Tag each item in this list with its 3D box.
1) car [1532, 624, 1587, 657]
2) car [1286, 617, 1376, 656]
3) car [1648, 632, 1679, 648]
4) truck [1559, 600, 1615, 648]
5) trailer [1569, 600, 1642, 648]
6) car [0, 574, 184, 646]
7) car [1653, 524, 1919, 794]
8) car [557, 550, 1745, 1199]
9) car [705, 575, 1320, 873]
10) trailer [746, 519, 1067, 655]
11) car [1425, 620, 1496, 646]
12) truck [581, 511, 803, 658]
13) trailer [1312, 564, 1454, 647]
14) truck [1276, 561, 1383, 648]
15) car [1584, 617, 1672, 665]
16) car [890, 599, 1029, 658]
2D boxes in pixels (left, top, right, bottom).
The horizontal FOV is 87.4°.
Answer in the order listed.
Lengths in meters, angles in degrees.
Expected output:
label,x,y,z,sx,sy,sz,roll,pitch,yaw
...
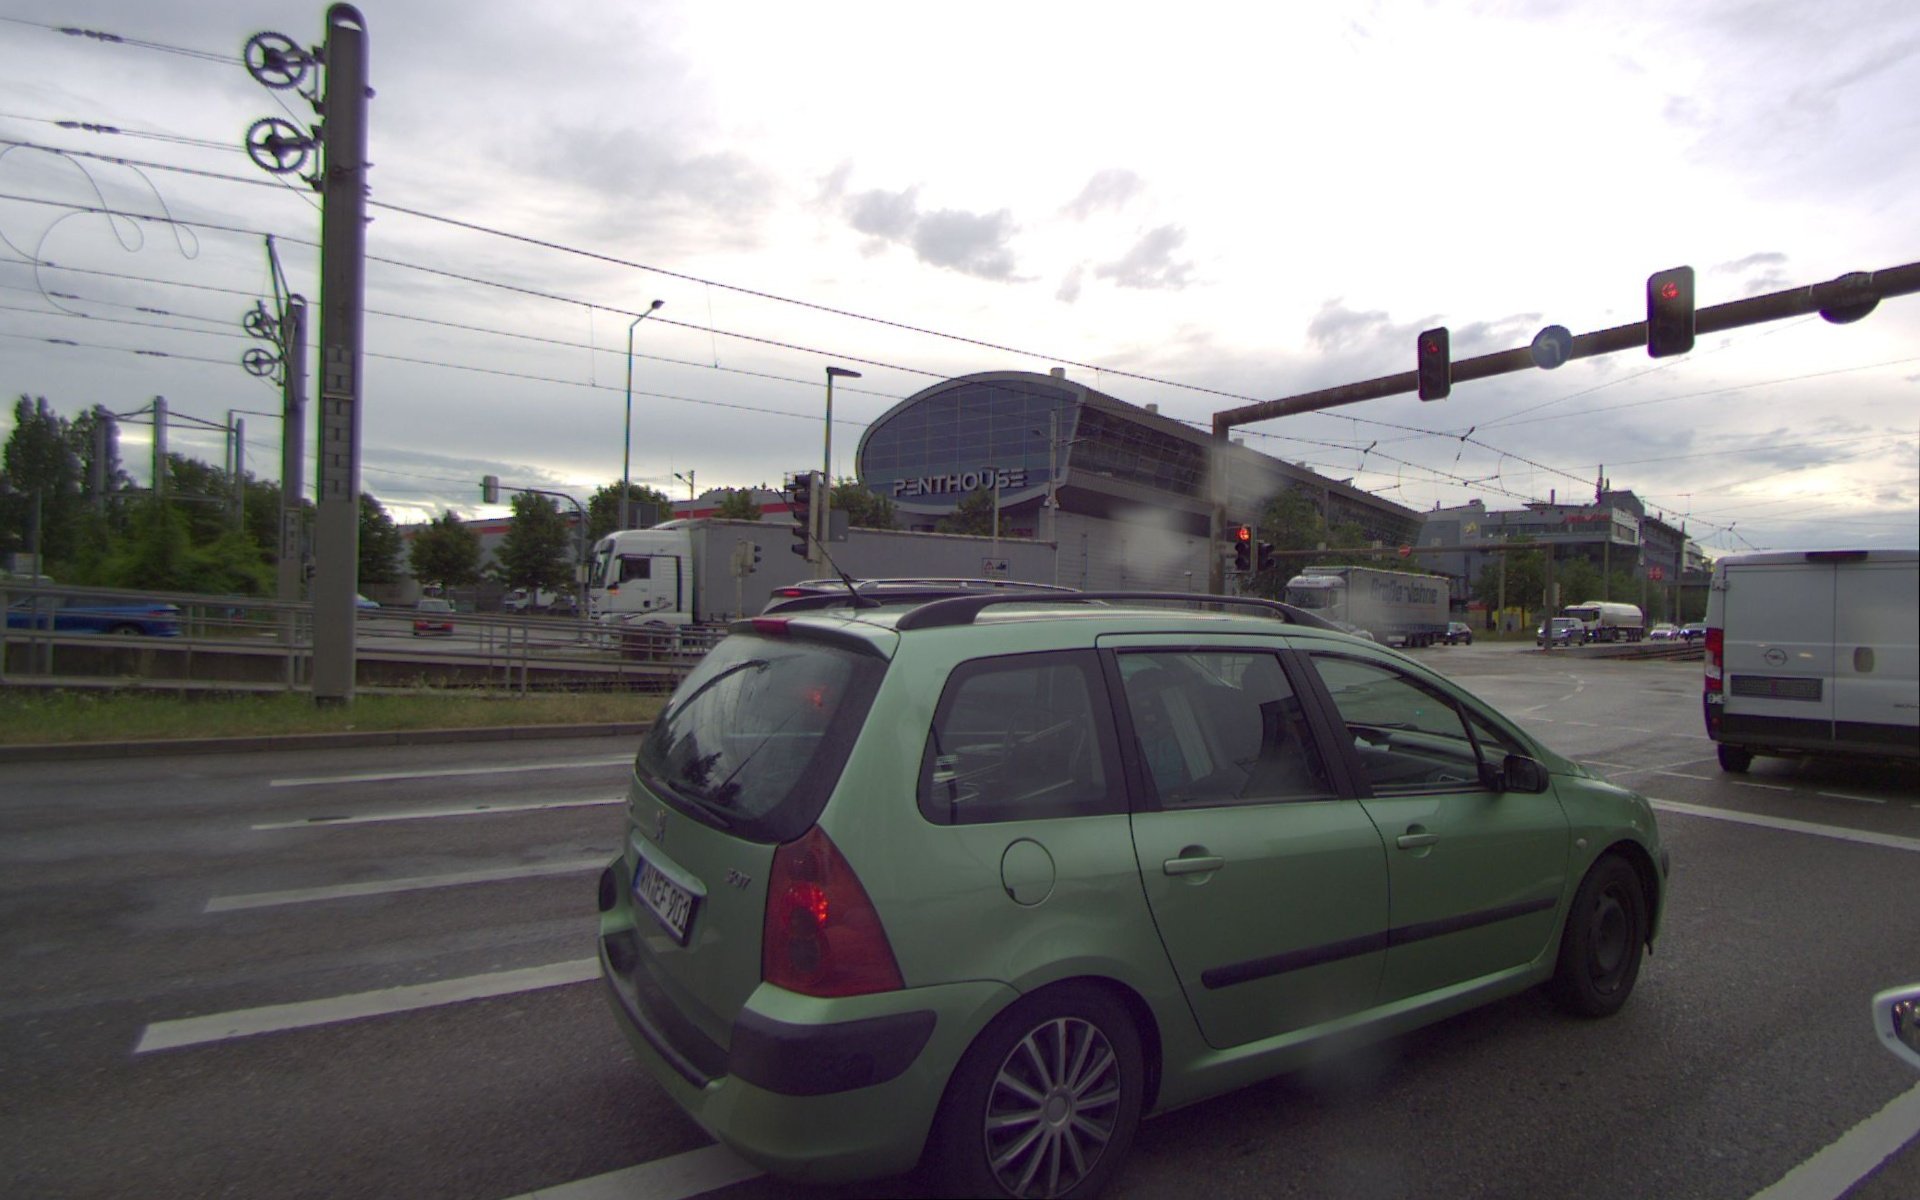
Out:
label,x,y,z,sx,sy,sz,roll,pitch,yaw
car,41.167,2.740,68.914,4.875,1.862,1.973,-1,4,-44
car,16.737,1.625,45.180,4.532,1.576,1.885,2,1,-42
car,69.062,3.884,98.558,2.133,1.525,4.281,0,-1,40
truck,52.080,2.034,83.416,5.374,3.855,2.720,3,-3,-43
trailer,56.313,2.199,87.431,11.150,3.905,2.699,3,-3,-43
car,-22.860,0.265,25.932,4.276,1.650,1.980,3,1,-35
car,9.593,0.575,10.825,4.868,2.324,2.423,2,-1,-42
car,0.974,0.701,3.764,4.355,1.488,1.685,3,1,-32
car,0.453,0.729,7.283,4.142,1.613,1.719,2,1,-29
trailer,-1.553,-0.289,34.908,11.322,4.162,2.778,1,-1,-34
car,33.522,2.208,67.446,1.964,1.630,4.637,1,-1,-9
truck,-8.094,-0.375,30.543,5.923,4.049,2.815,1,0,-33
trailer,23.967,0.487,56.312,12.662,4.179,2.623,3,-2,-45
truck,18.985,0.321,51.464,6.143,4.184,2.641,3,-2,-43
car,30.665,1.856,46.089,4.301,2.041,1.762,1,2,-33
car,0.009,0.929,32.311,4.052,1.674,1.876,3,1,-33
